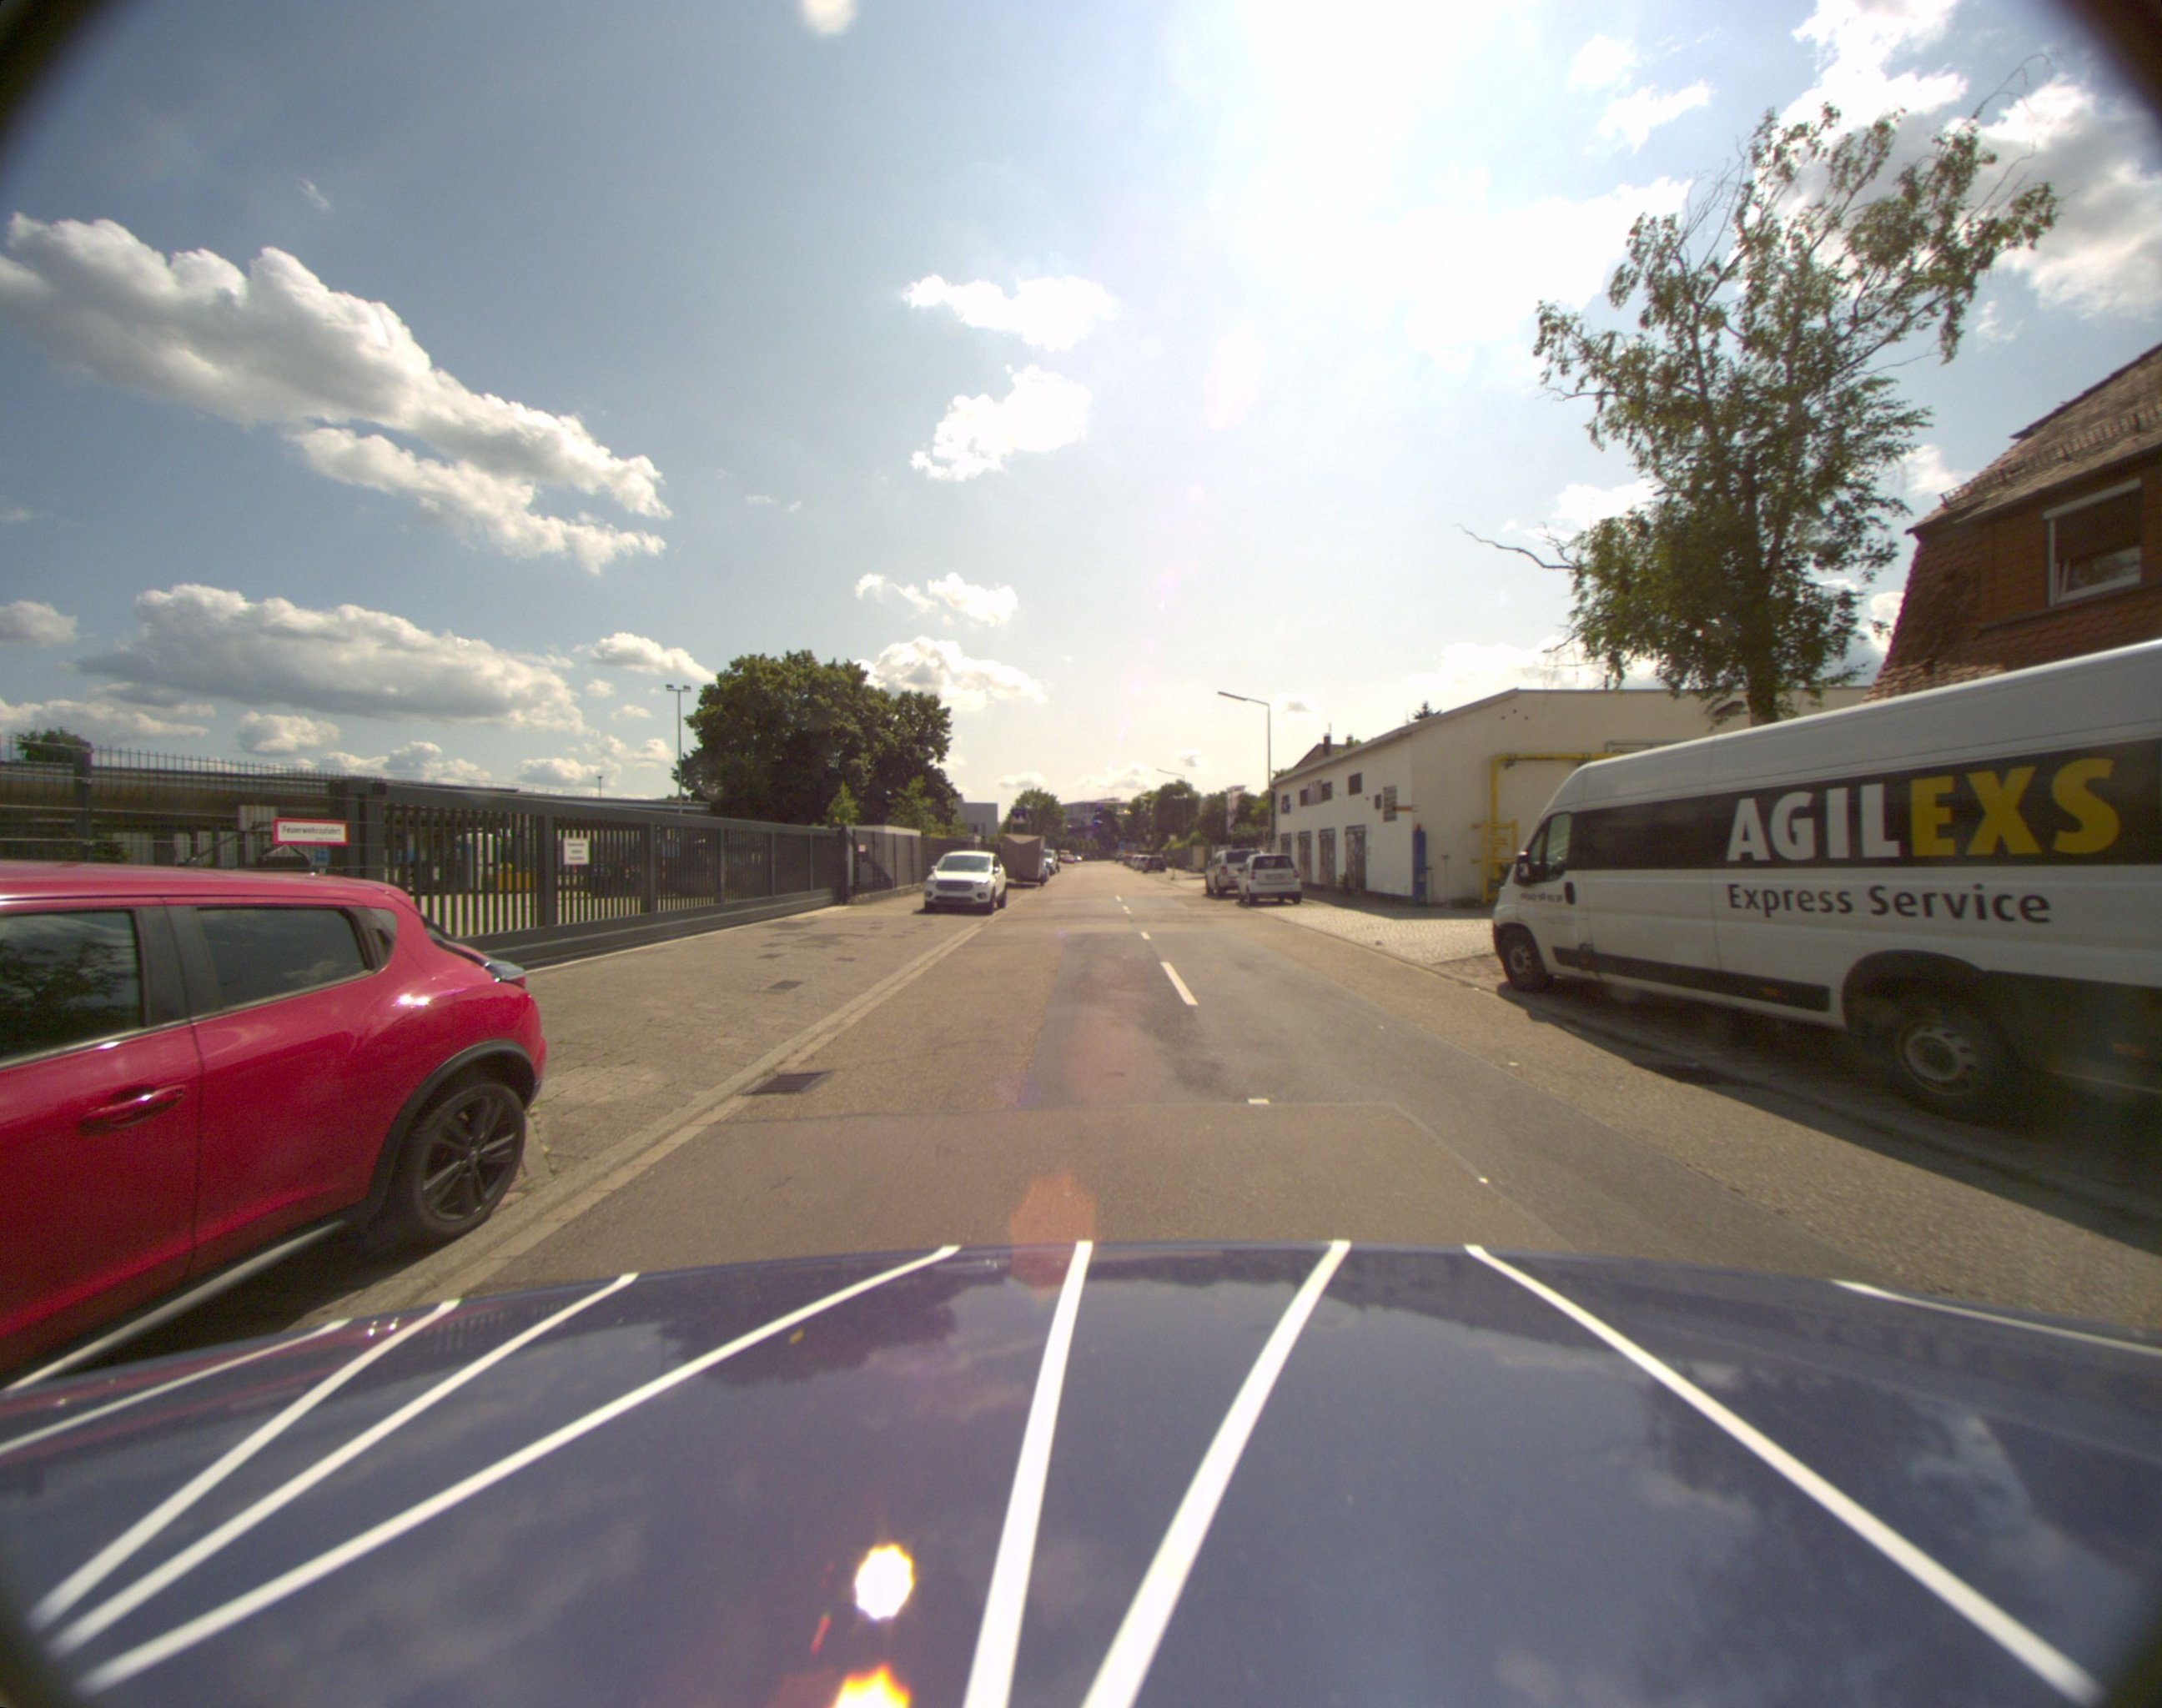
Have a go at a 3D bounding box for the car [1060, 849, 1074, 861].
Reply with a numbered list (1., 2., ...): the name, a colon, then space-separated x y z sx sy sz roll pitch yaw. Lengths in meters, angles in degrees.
1. car: -2.844 0.171 151.641 2.163 2.450 6.635 1 0 -5

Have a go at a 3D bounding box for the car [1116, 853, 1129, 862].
1. car: 7.563 0.674 138.328 1.762 1.565 4.475 -1 1 -3

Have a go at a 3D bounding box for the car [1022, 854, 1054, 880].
1. car: -2.634 0.781 46.790 1.695 1.452 4.070 2 1 0

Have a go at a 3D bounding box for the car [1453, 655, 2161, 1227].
1. car: 5.757 0.321 6.180 2.035 2.543 6.655 -3 1 -1

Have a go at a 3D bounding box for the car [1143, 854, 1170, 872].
1. car: 6.474 0.774 65.340 1.810 1.410 4.496 -3 0 0

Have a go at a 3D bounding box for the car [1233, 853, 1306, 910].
1. car: 5.850 0.804 23.878 1.613 1.565 3.009 -4 0 3

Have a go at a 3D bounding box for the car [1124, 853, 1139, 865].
1. car: 7.177 0.739 108.471 1.849 1.499 4.000 -4 0 1

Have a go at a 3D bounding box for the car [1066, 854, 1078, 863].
1. car: -1.466 0.755 127.409 1.758 1.478 4.224 3 0 1

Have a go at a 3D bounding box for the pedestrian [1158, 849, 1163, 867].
1. pedestrian: 8.396 0.431 80.684 0.452 1.883 0.677 -1 1 1

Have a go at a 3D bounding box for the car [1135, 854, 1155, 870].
1. car: 6.516 0.804 77.723 1.624 1.513 4.174 -1 0 -2

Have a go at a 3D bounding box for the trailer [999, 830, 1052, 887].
1. trailer: -2.822 0.198 40.277 2.210 2.721 6.221 2 1 0

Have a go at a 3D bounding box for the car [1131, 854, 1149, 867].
1. car: 6.725 0.734 86.967 1.649 1.469 4.028 -1 1 0

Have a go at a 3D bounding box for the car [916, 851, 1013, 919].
1. car: -3.183 0.784 21.702 1.940 1.683 4.680 2 0 1

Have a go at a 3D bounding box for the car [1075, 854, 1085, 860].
1. car: -0.180 0.596 155.720 1.759 1.211 4.222 -1 0 -5

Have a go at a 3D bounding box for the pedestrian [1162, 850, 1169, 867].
1. pedestrian: 9.010 0.473 80.975 0.710 1.790 0.916 -1 1 1

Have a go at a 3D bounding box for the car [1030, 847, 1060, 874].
1. car: -2.783 0.447 59.347 1.998 2.002 5.649 0 0 1

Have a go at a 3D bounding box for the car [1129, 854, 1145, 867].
1. car: 6.750 0.750 91.684 1.670 1.458 3.743 -2 1 2

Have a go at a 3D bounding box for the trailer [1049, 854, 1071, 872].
1. trailer: -1.942 0.797 68.306 1.754 1.409 4.547 2 1 -4

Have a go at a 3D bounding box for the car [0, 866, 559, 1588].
1. car: -3.421 0.926 1.643 1.708 1.615 4.092 2 1 0

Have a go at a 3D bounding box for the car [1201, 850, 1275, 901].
1. car: 5.832 0.731 28.735 1.795 1.709 4.751 -3 0 1
